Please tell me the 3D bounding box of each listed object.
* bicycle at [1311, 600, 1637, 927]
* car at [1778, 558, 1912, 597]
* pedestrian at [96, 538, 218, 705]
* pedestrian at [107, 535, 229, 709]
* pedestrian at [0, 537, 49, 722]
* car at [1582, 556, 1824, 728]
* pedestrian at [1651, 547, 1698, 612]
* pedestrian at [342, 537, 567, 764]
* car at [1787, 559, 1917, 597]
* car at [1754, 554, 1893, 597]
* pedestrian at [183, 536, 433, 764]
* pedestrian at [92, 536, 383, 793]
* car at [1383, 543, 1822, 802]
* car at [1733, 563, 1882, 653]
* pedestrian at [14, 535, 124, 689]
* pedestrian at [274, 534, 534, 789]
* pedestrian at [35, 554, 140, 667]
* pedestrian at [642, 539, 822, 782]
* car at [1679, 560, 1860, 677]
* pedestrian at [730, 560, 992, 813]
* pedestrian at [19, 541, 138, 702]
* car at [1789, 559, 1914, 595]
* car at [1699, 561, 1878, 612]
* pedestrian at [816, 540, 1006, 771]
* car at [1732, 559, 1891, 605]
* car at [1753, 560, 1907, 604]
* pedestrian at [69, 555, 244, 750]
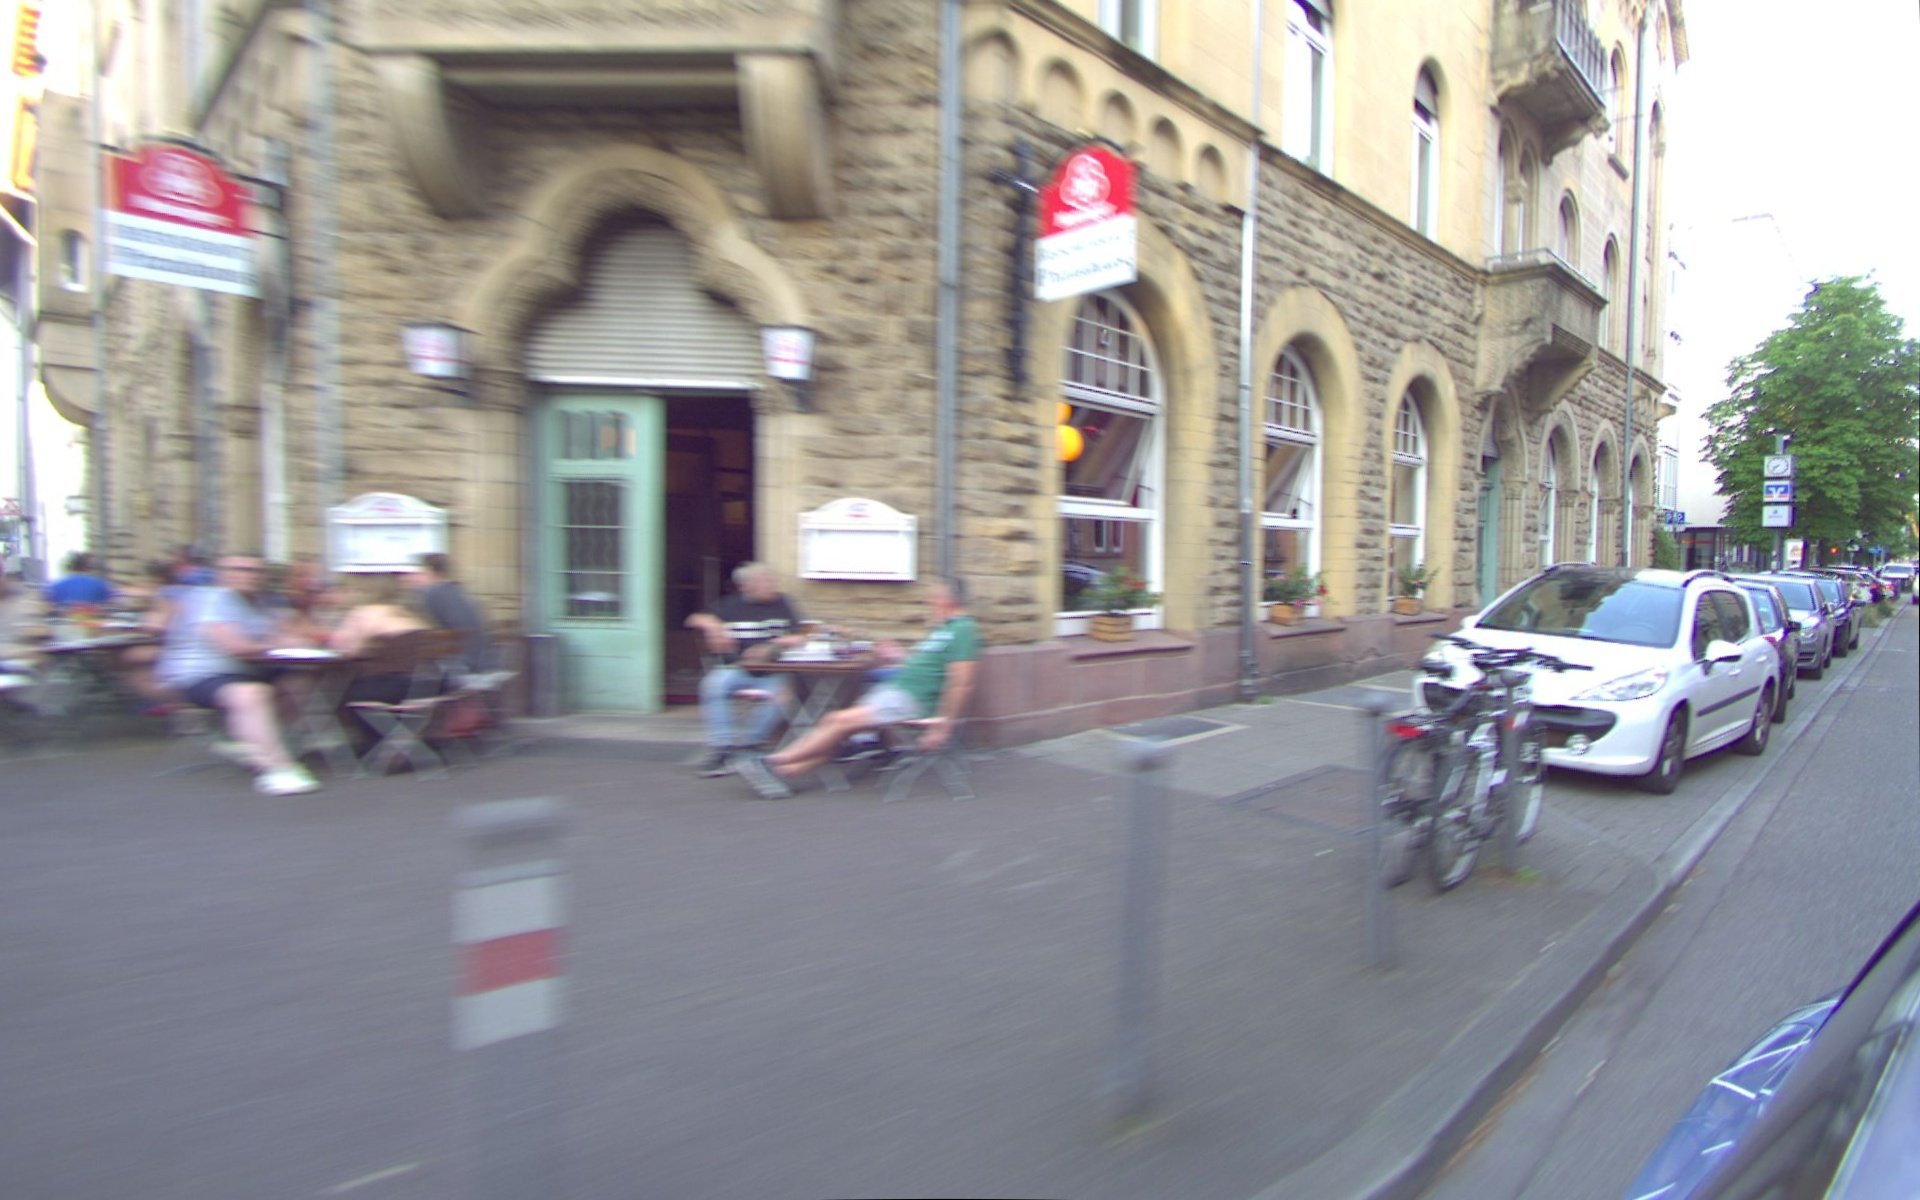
[{"bbox_3d":[2.538,0.632,4.860,2.080,1.165,0.685,-1,6,-44],"label":"bicycle"},{"bbox_3d":[38.576,-1.003,44.189,1.794,1.555,4.293,-2,4,-45],"label":"car"},{"bbox_3d":[-6.961,0.157,8.780,0.590,1.374,0.726,3,3,42],"label":"pedestrian"},{"bbox_3d":[-6.459,0.146,8.254,0.729,1.337,0.657,3,3,42],"label":"pedestrian"},{"bbox_3d":[-7.718,0.219,7.842,0.709,1.422,0.786,2,3,29],"label":"pedestrian"},{"bbox_3d":[8.720,0.307,11.710,1.763,1.502,4.489,7,6,41],"label":"car"},{"bbox_3d":[20.221,-0.601,28.645,0.819,1.788,0.851,-1,4,-41],"label":"pedestrian"},{"bbox_3d":[-3.338,0.295,6.794,1.082,1.413,0.843,-1,3,-4],"label":"pedestrian"},{"bbox_3d":[40.242,-1.032,45.736,1.794,1.547,4.293,-2,4,-45],"label":"car"},{"bbox_3d":[36.272,-1.071,42.579,1.794,1.696,4.293,-2,3,-45],"label":"car"},{"bbox_3d":[-4.277,0.286,6.731,1.082,1.413,0.843,-1,3,-4],"label":"pedestrian"},{"bbox_3d":[-4.231,0.332,6.025,1.082,1.413,0.843,-1,3,-4],"label":"pedestrian"},{"bbox_3d":[5.407,0.376,8.273,4.386,1.502,1.768,-1,6,-41],"label":"car"},{"bbox_3d":[16.764,0.063,19.943,4.483,1.502,1.765,-2,5,-45],"label":"car"},{"bbox_3d":[-8.827,0.087,10.023,0.899,1.442,0.704,3,3,42],"label":"pedestrian"},{"bbox_3d":[-3.282,0.319,6.089,1.082,1.413,0.843,-1,3,-4],"label":"pedestrian"},{"bbox_3d":[-10.184,0.095,11.814,0.923,1.241,0.810,3,3,42],"label":"pedestrian"},{"bbox_3d":[-1.435,0.338,6.562,0.880,1.413,1.012,3,2,1],"label":"pedestrian"},{"bbox_3d":[12.819,0.169,15.918,1.765,1.502,4.485,5,5,44],"label":"car"},{"bbox_3d":[-0.528,0.451,5.882,1.393,1.301,0.841,2,4,3],"label":"pedestrian"},{"bbox_3d":[-8.194,0.164,9.435,0.758,1.413,0.617,-3,4,-41],"label":"pedestrian"},{"bbox_3d":[41.845,-1.110,47.573,1.794,1.547,4.293,-2,4,-45],"label":"car"},{"bbox_3d":[26.727,-0.492,32.739,1.794,1.469,4.293,-2,4,-45],"label":"car"},{"bbox_3d":[-0.359,0.339,6.733,1.081,1.413,0.844,2,3,-12],"label":"pedestrian"},{"bbox_3d":[31.075,-0.700,37.015,1.794,1.547,4.293,-2,4,-45],"label":"car"},{"bbox_3d":[32.982,-0.729,38.435,1.794,1.547,4.293,-2,4,-45],"label":"car"},{"bbox_3d":[-5.819,0.330,7.342,0.703,1.298,0.865,3,3,40],"label":"pedestrian"}]
